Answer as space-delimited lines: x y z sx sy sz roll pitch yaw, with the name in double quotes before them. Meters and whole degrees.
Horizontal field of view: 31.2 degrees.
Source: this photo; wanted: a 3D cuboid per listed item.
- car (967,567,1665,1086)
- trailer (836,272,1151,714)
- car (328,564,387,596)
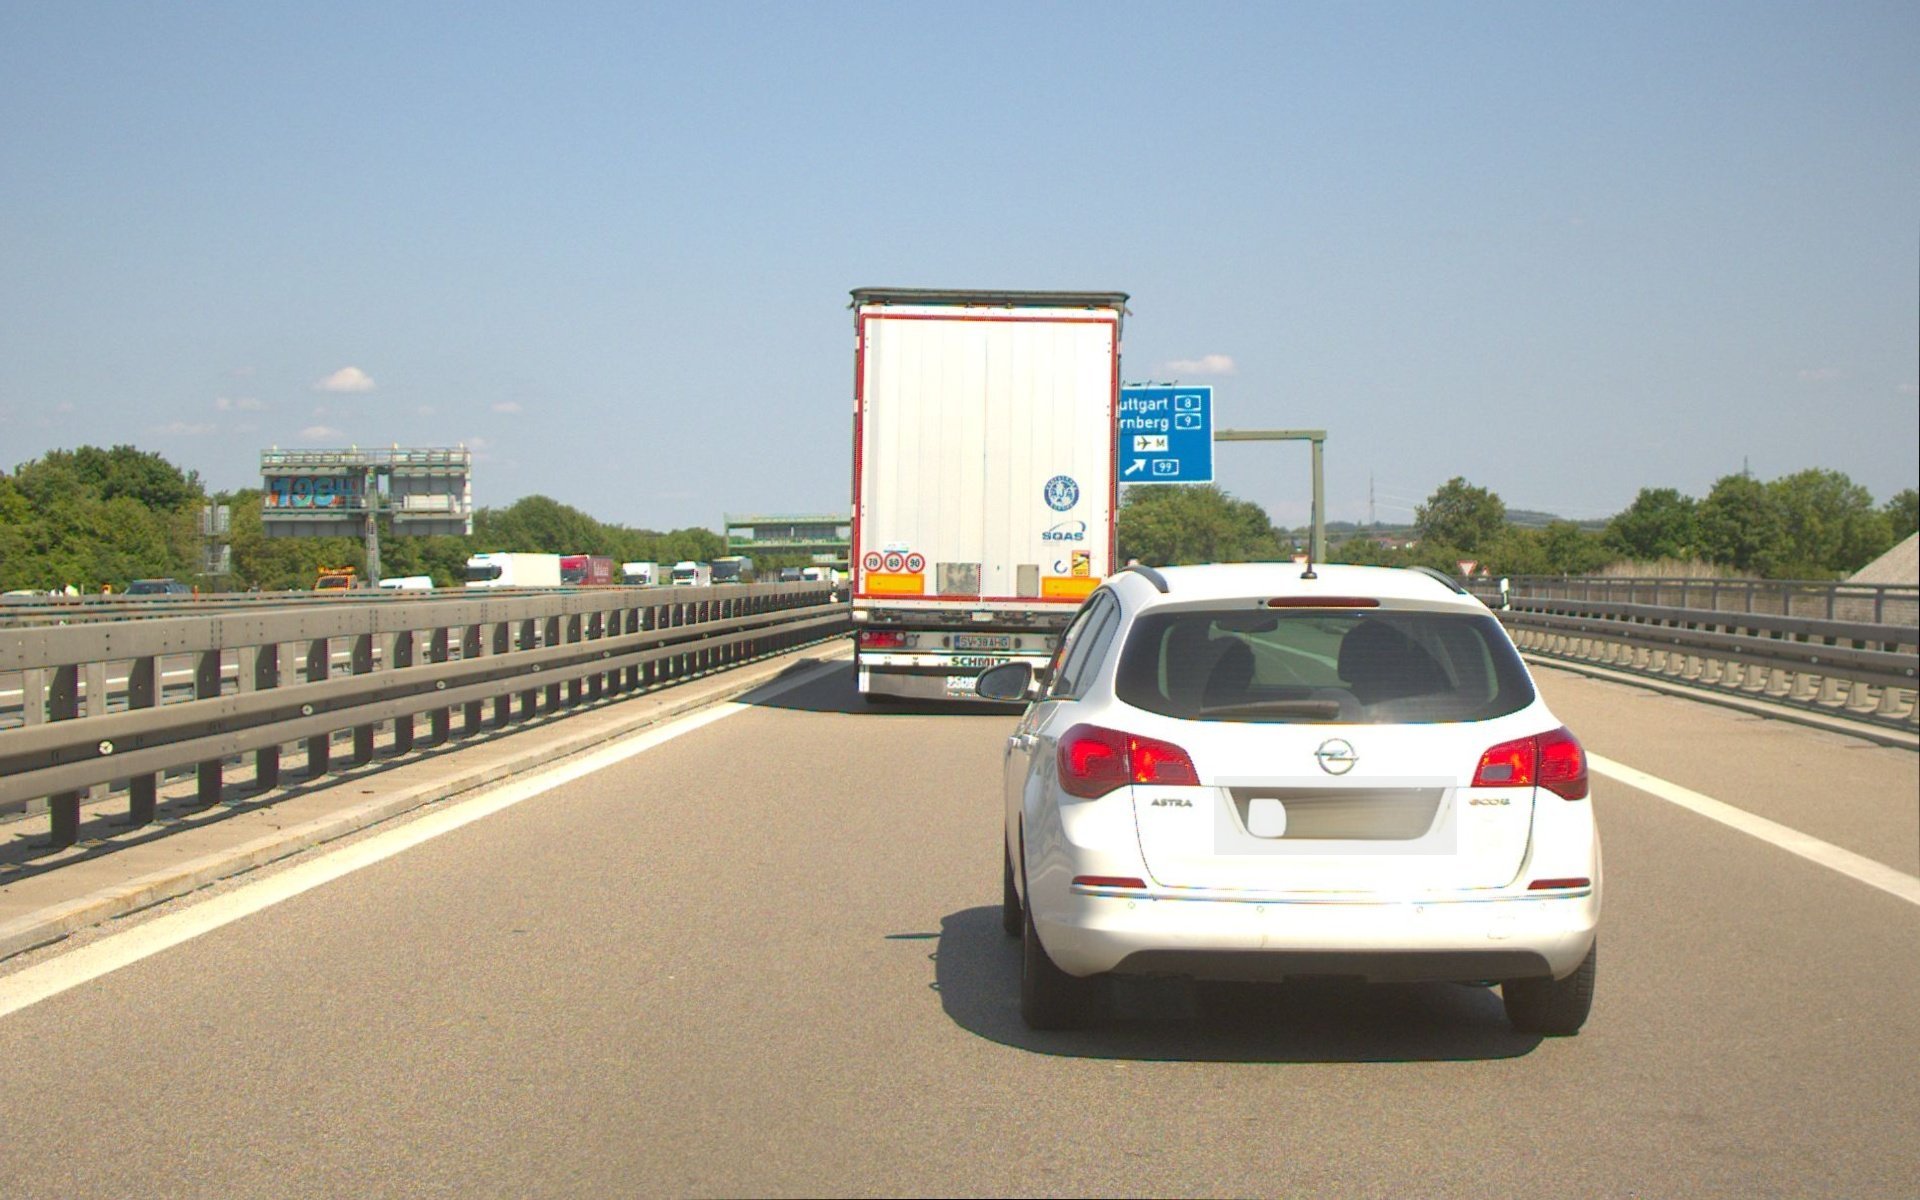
"car" 1.019 0.624 11.959 1.854 1.438 4.372 1 1 -1
"trailer" 0.533 -1.021 38.048 2.912 4.131 11.257 1 0 2
"car" -30.271 -1.017 172.781 1.838 1.512 5.297 0 1 2
